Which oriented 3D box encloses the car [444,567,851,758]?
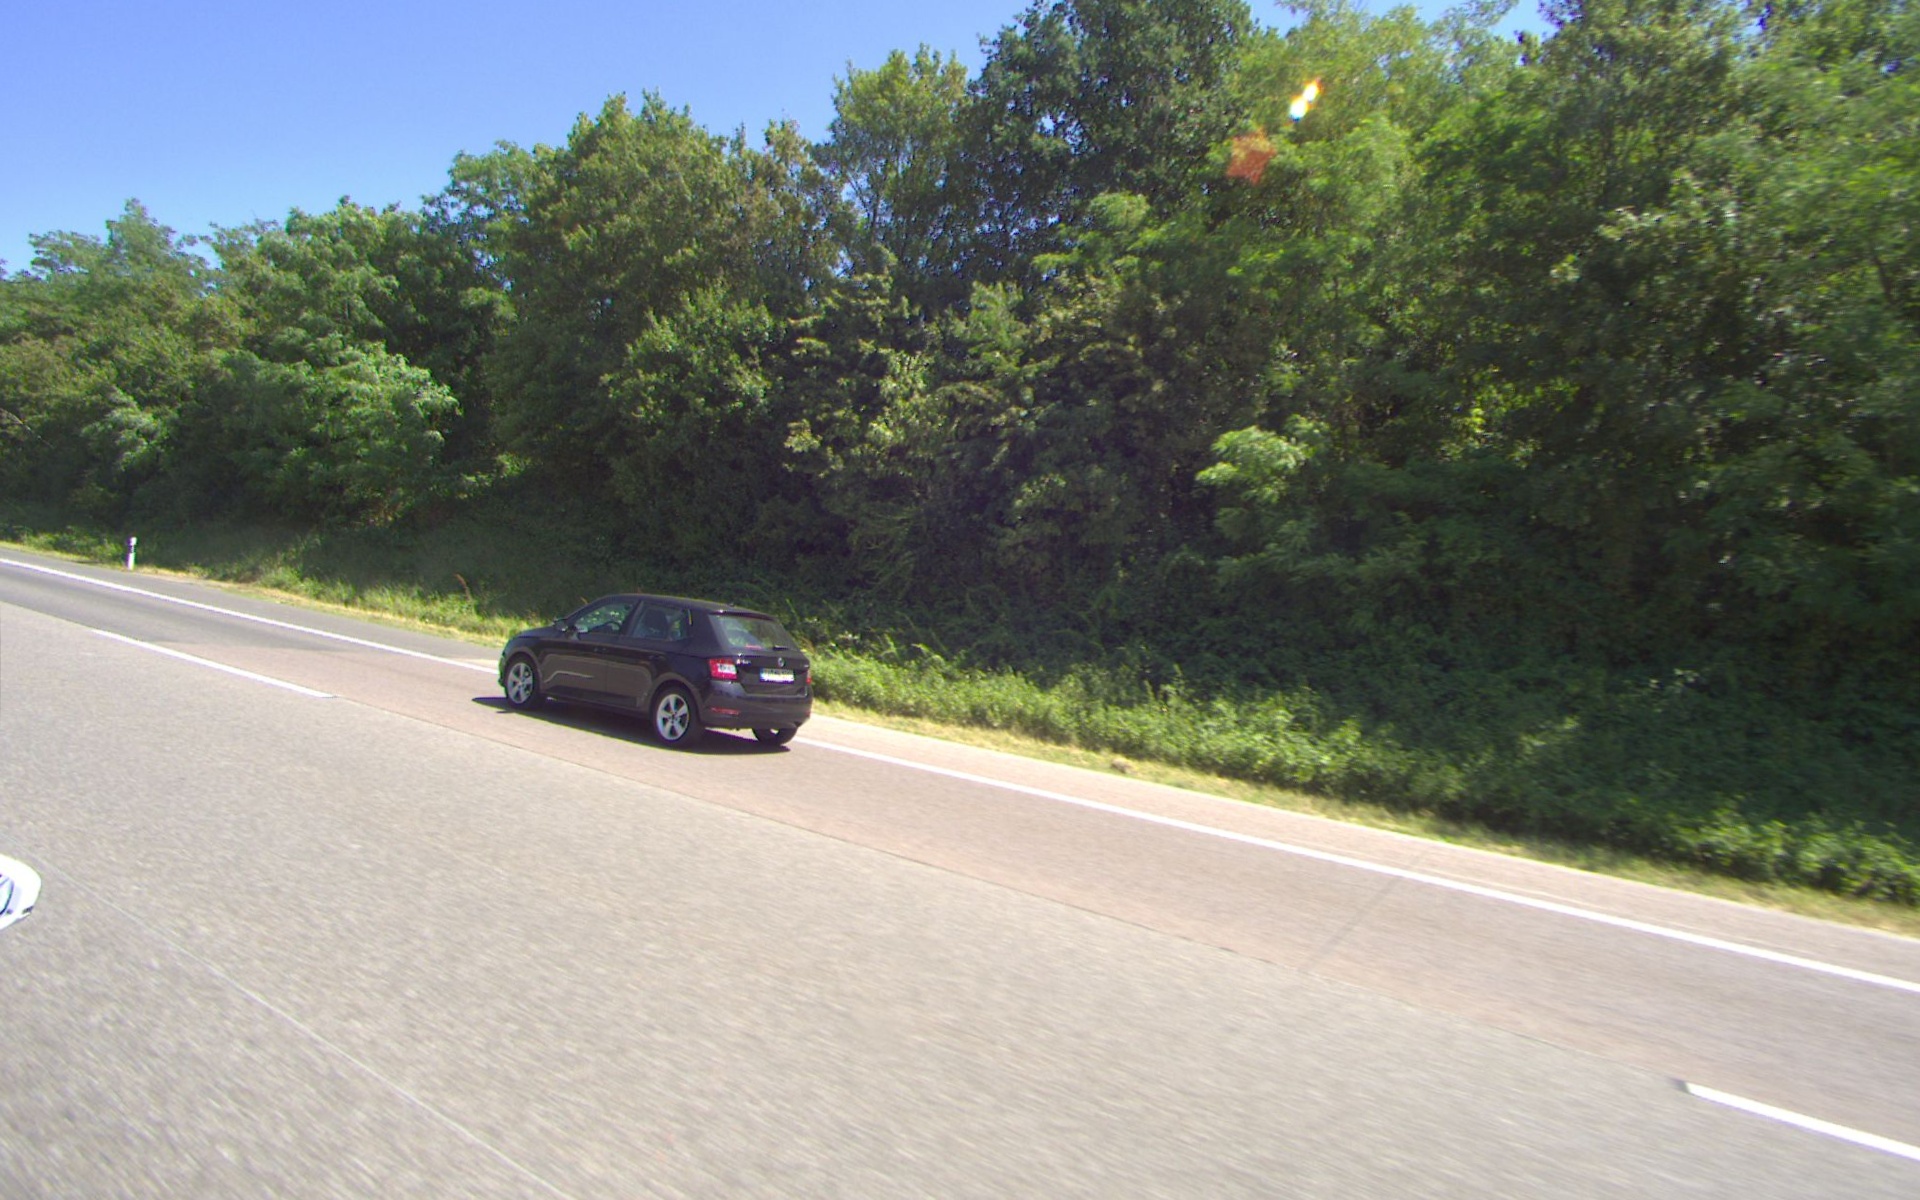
[{"bbox_3d":[-3.585,0.627,11.252,4.498,1.464,1.673,6,-2,32],"label":"car"}]
